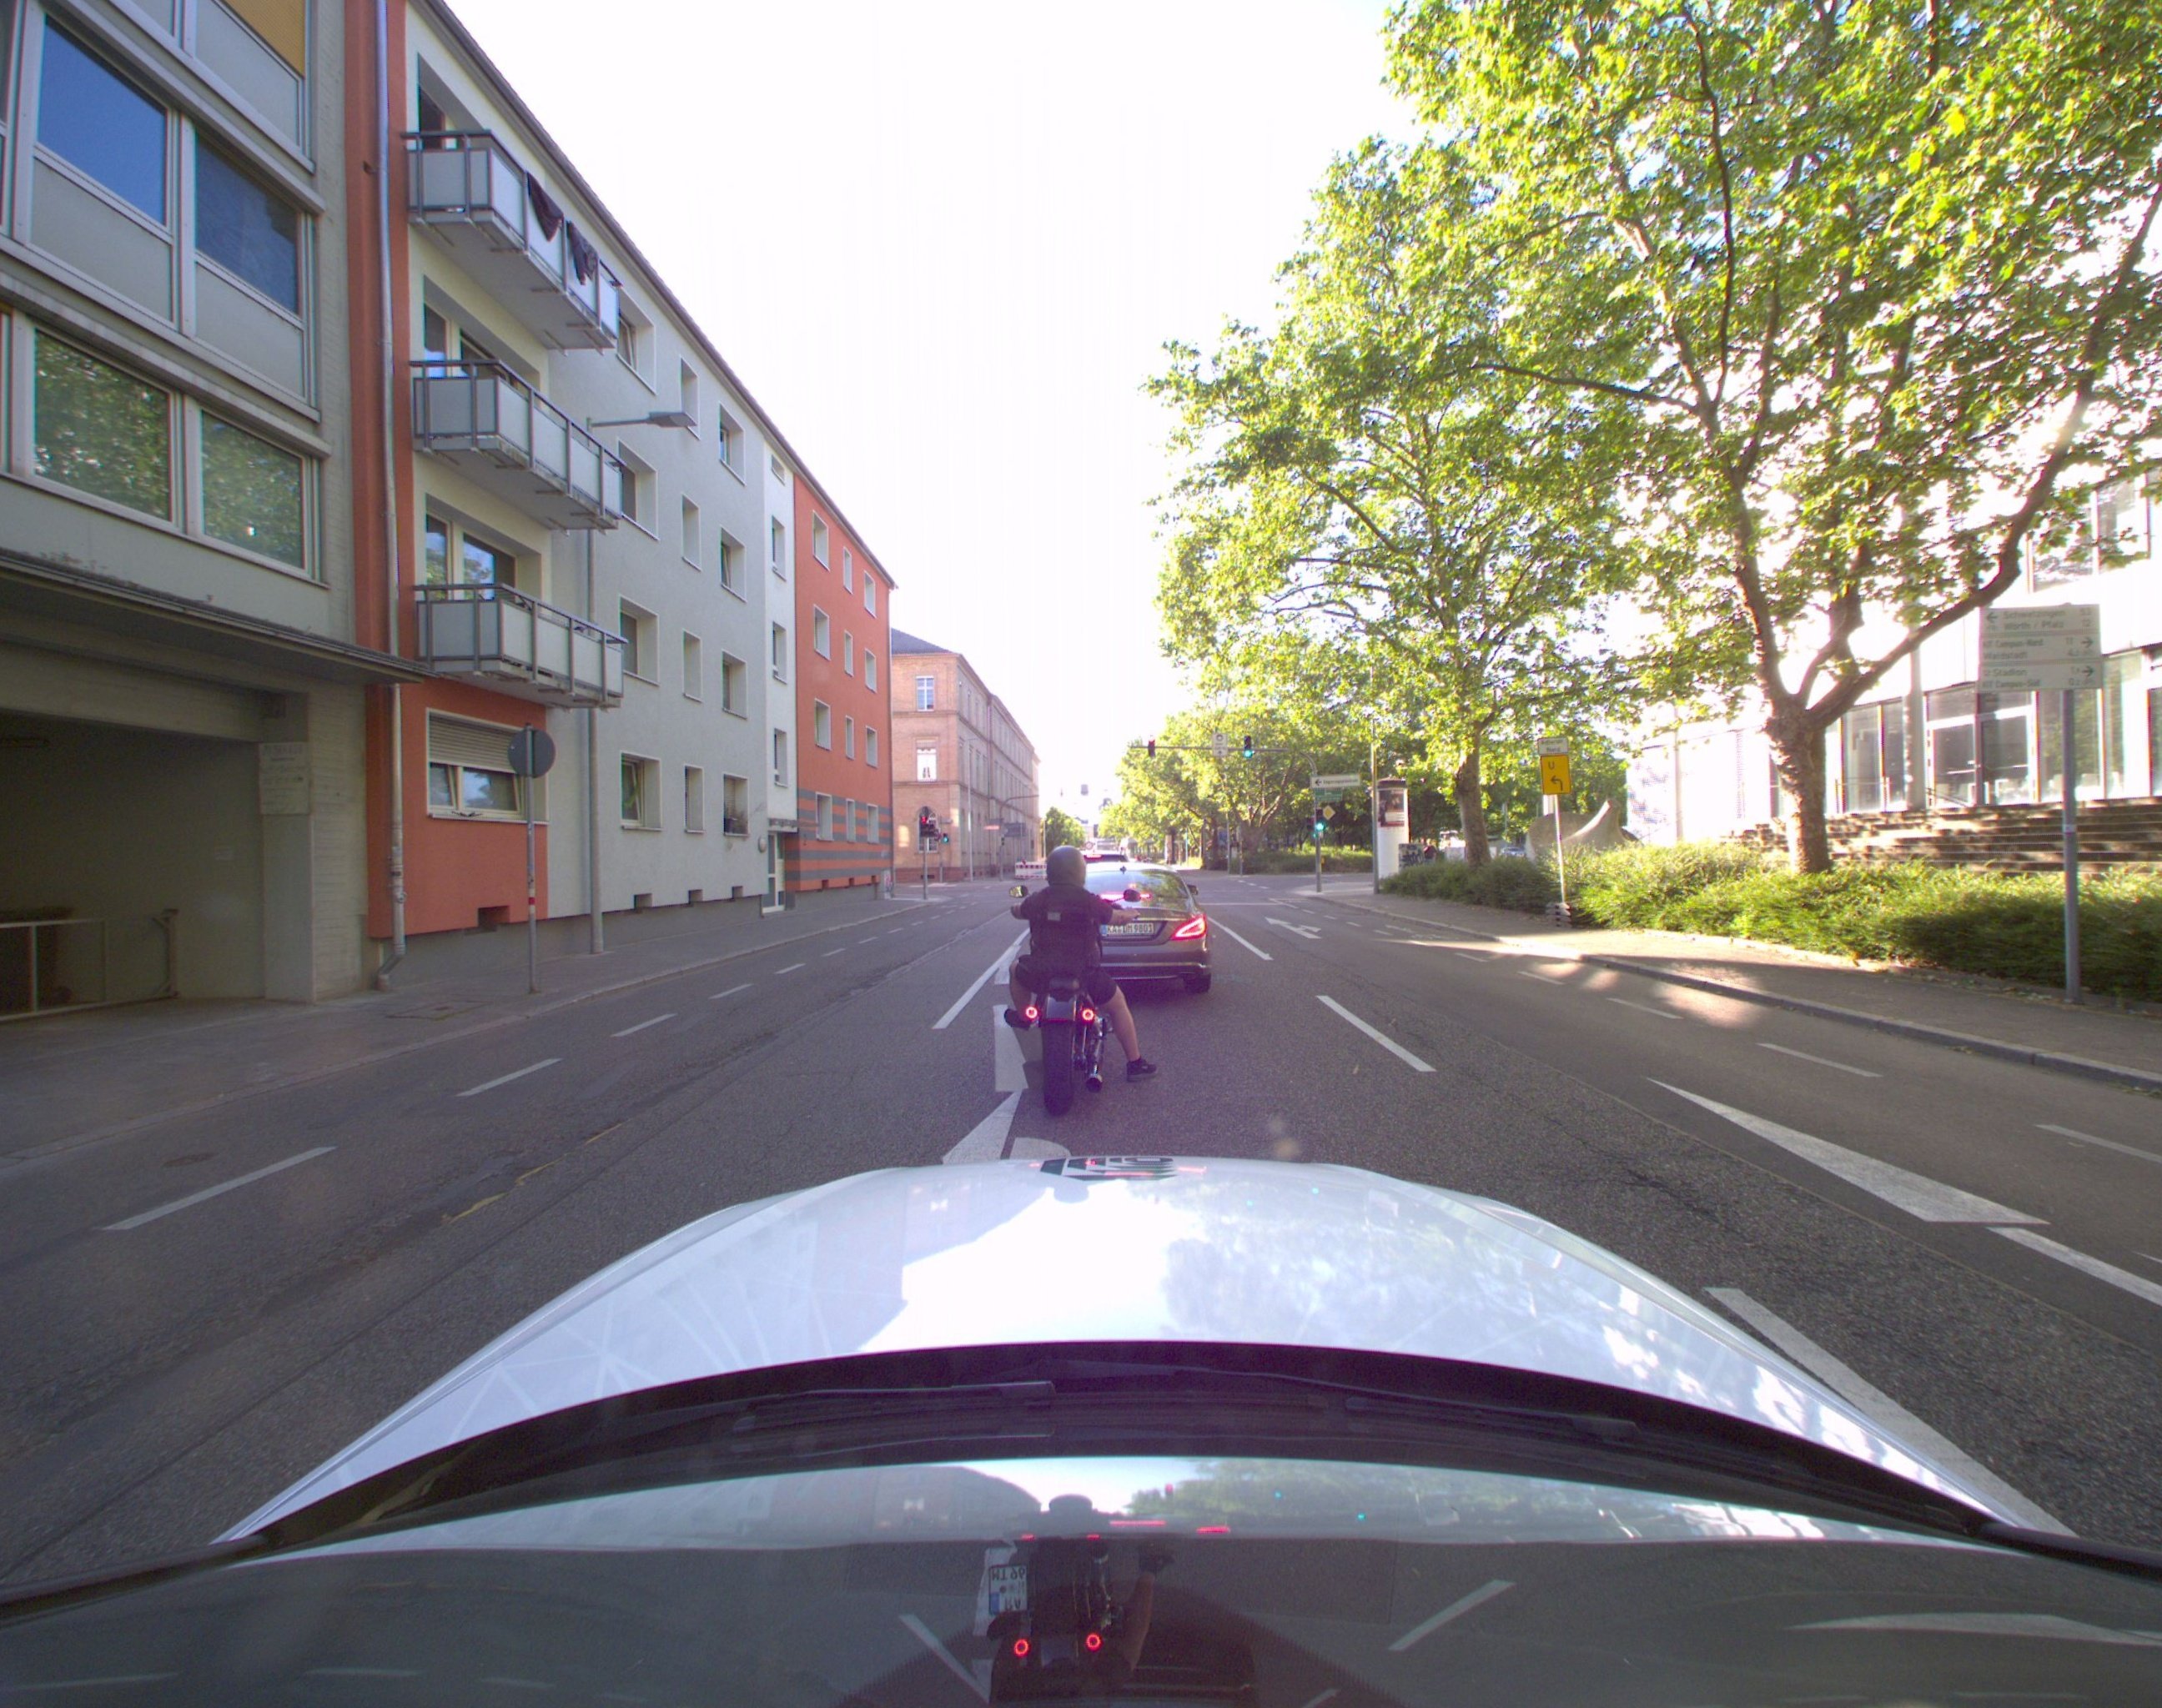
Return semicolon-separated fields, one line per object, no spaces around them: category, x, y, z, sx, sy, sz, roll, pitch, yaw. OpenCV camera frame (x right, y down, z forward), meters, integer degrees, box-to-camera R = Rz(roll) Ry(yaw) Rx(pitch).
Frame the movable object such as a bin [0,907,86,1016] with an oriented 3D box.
movable object such as a bin;-11.283;1.119;8.640;0.533;1.079;0.723;0;-1;3

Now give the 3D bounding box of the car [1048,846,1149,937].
car;0.382;0.714;17.062;1.856;1.678;4.001;0;-1;2

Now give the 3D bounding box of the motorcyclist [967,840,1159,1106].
motorcyclist;-0.068;0.706;5.398;1.093;1.566;1.074;-1;-1;8

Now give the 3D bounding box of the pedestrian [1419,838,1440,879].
pedestrian;15.335;0.198;35.827;0.730;1.778;0.733;-1;-1;17

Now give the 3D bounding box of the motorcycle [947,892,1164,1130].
motorcycle;-0.040;0.914;5.616;1.111;1.207;2.217;-1;-1;8

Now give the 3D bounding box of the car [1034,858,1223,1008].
car;0.522;0.782;9.773;1.815;1.437;3.807;0;-1;2
